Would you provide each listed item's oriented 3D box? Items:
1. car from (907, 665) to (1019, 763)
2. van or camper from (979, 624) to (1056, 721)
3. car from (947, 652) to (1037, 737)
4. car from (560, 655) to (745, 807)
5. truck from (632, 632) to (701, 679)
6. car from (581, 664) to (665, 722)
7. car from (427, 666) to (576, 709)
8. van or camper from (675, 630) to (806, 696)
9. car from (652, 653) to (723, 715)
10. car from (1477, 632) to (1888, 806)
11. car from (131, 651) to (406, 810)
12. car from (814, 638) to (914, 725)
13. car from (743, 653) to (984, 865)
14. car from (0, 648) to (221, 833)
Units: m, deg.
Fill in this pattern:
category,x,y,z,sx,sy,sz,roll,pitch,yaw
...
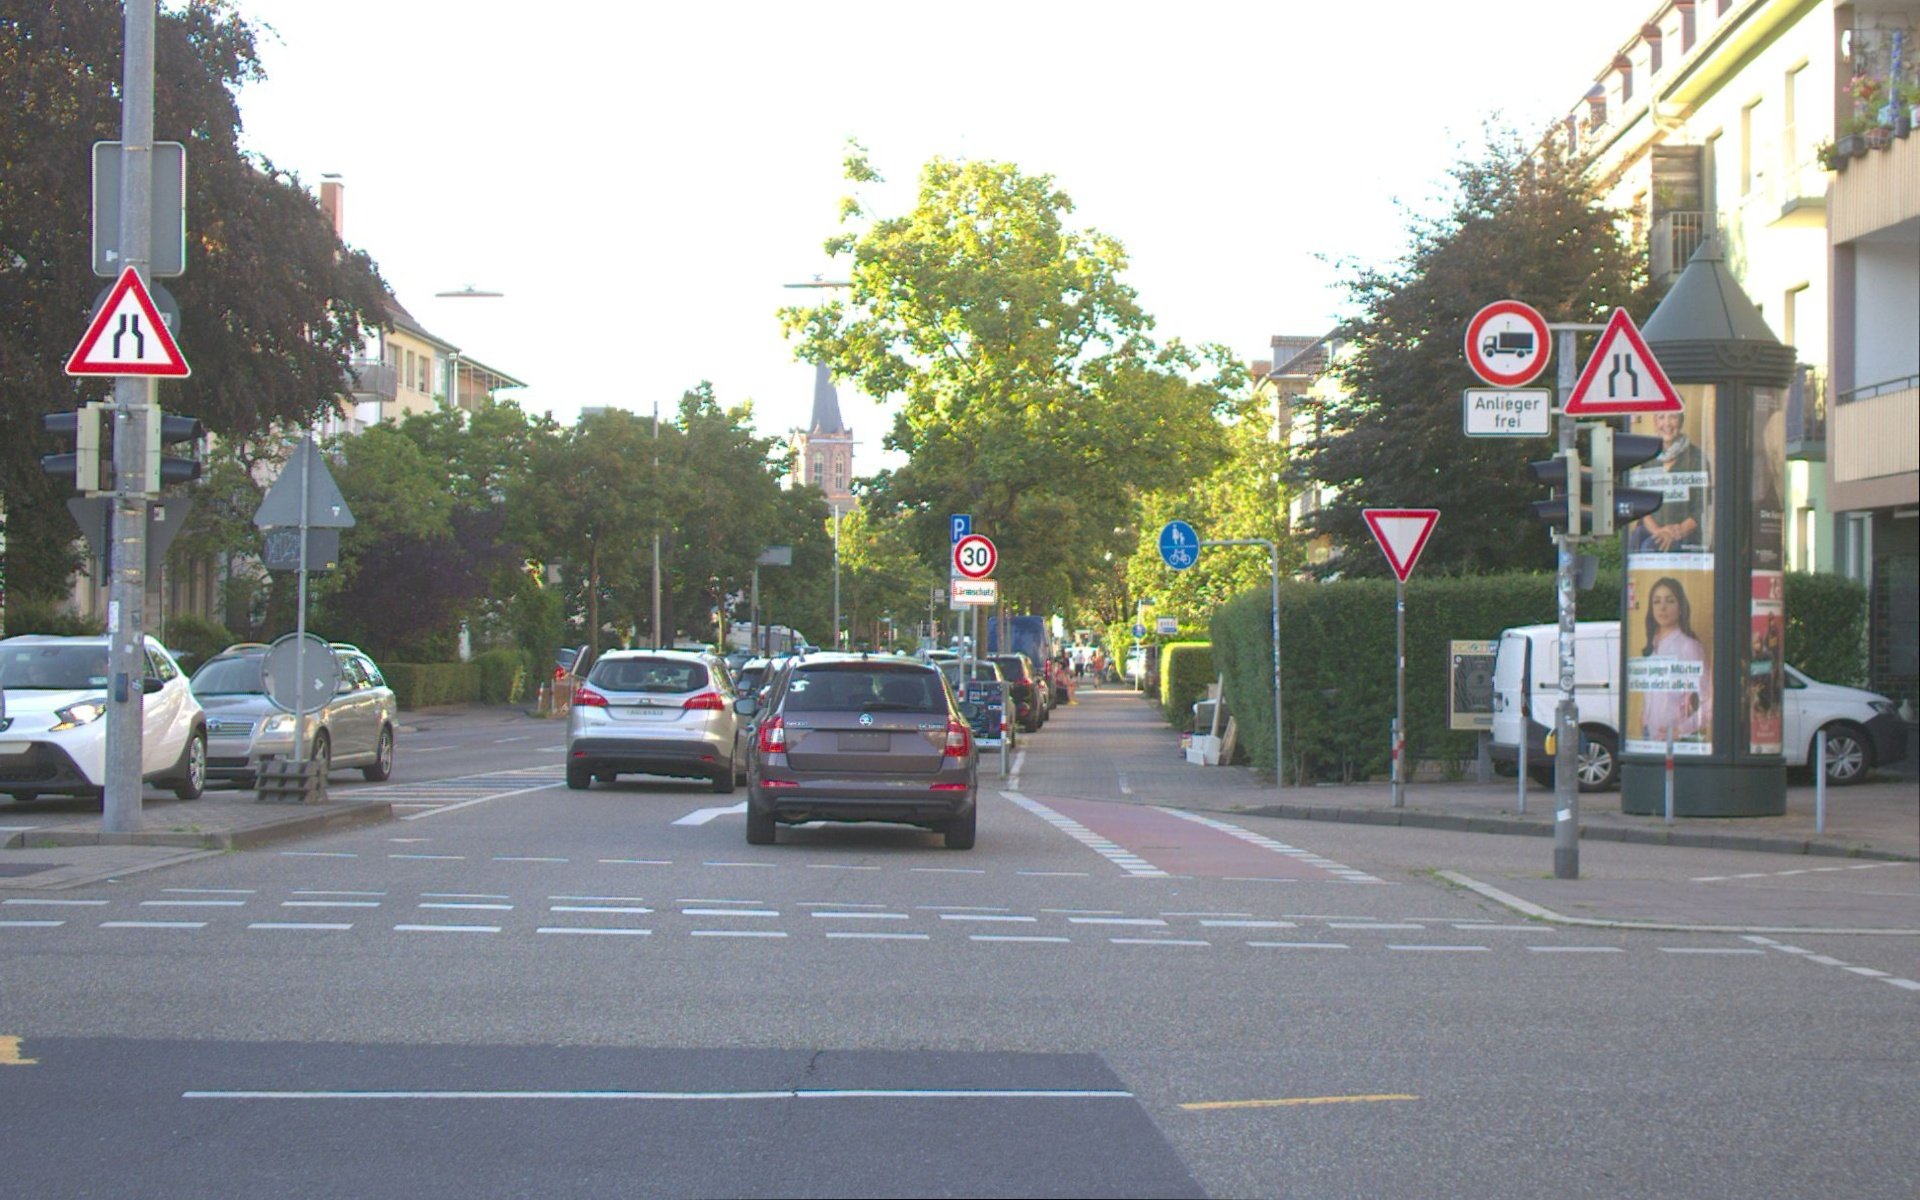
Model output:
category,x,y,z,sx,sy,sz,roll,pitch,yaw
car,0.077,1.891,57.733,1.732,1.546,3.645,1,-1,2
van or camper,1.679,2.087,98.365,2.068,2.667,5.988,1,-1,2
car,0.696,1.928,70.983,1.732,1.645,4.291,1,-1,2
car,-3.251,1.363,36.894,1.729,1.489,3.951,1,-1,-2
truck,-13.313,2.508,156.072,2.913,2.086,1.546,1,-1,2
car,-9.289,2.552,95.075,1.750,1.498,4.196,1,-1,2
car,-15.018,2.858,112.520,4.709,1.358,2.000,1,-1,-11
van or camper,-13.138,3.765,205.822,7.640,3.861,2.000,1,-1,0
car,-8.792,2.708,111.045,1.770,1.913,4.459,1,-1,2
car,7.862,1.278,37.657,4.087,1.808,1.861,1,-1,-1
car,-7.160,1.313,36.041,1.827,1.509,4.604,1,0,2
car,-1.854,1.581,67.586,1.732,1.645,3.541,1,-1,2
car,-0.755,1.183,26.832,1.729,1.489,3.951,1,-1,-2
car,-7.824,1.170,29.929,1.827,1.456,3.902,1,-1,2
